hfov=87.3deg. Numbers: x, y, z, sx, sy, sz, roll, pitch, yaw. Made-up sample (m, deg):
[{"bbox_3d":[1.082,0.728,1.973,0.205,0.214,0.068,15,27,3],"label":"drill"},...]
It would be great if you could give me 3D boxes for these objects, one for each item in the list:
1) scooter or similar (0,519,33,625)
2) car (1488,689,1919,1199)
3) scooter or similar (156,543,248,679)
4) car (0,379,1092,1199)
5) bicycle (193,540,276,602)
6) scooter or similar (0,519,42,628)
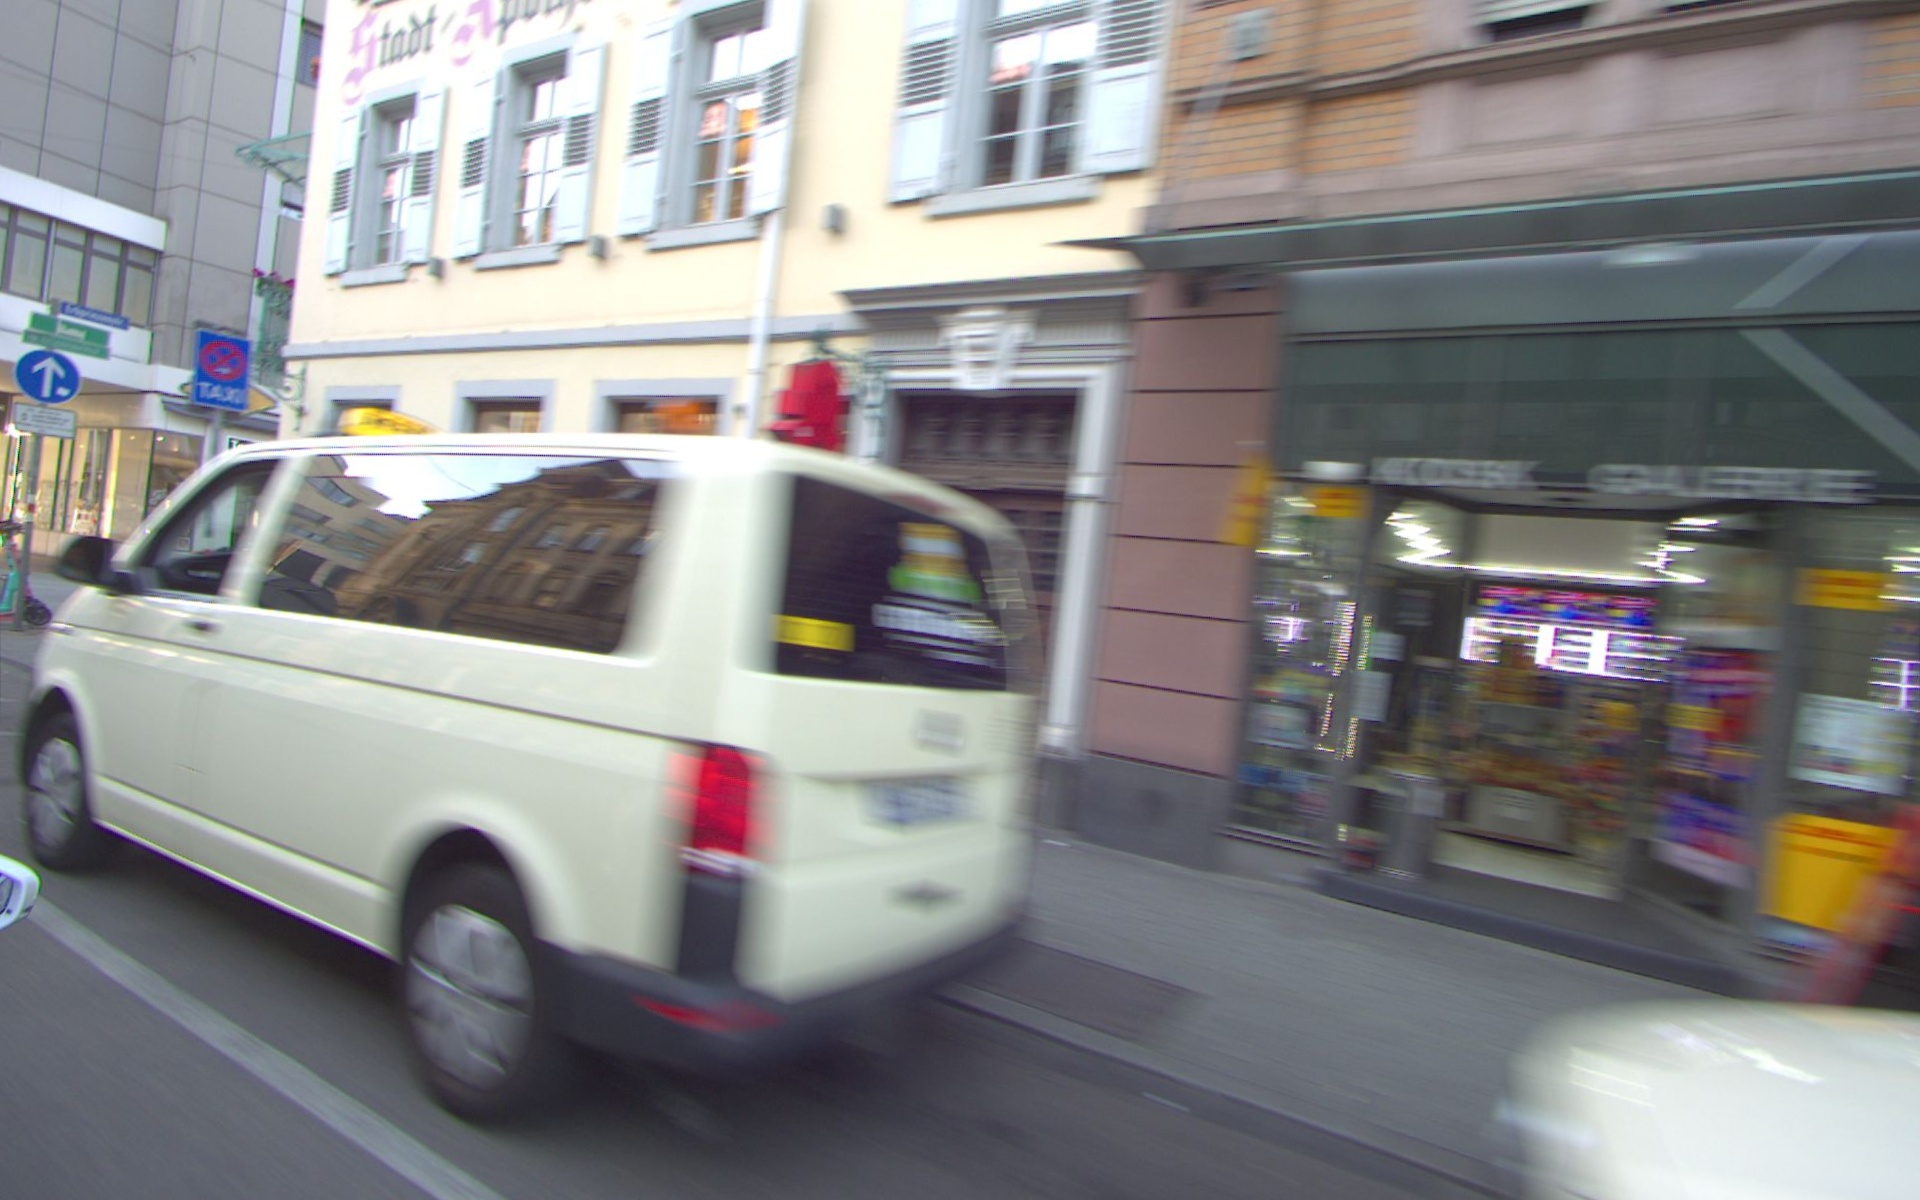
[{"bbox_3d":[-11.801,-0.375,11.893,1.172,1.250,0.312,6,1,-44],"label":"scooter or similar"},{"bbox_3d":[3.183,1.221,0.944,4.697,1.499,1.811,7,-3,31],"label":"car"},{"bbox_3d":[-7.659,0.093,10.146,1.287,1.250,0.271,6,1,35],"label":"scooter or similar"},{"bbox_3d":[-2.045,0.366,4.259,4.621,1.944,1.882,6,-3,31],"label":"car"},{"bbox_3d":[-15.680,-0.633,21.733,1.817,1.041,0.770,8,-1,34],"label":"bicycle"},{"bbox_3d":[-11.203,-0.314,11.560,0.267,1.250,1.047,6,0,-1],"label":"scooter or similar"}]
